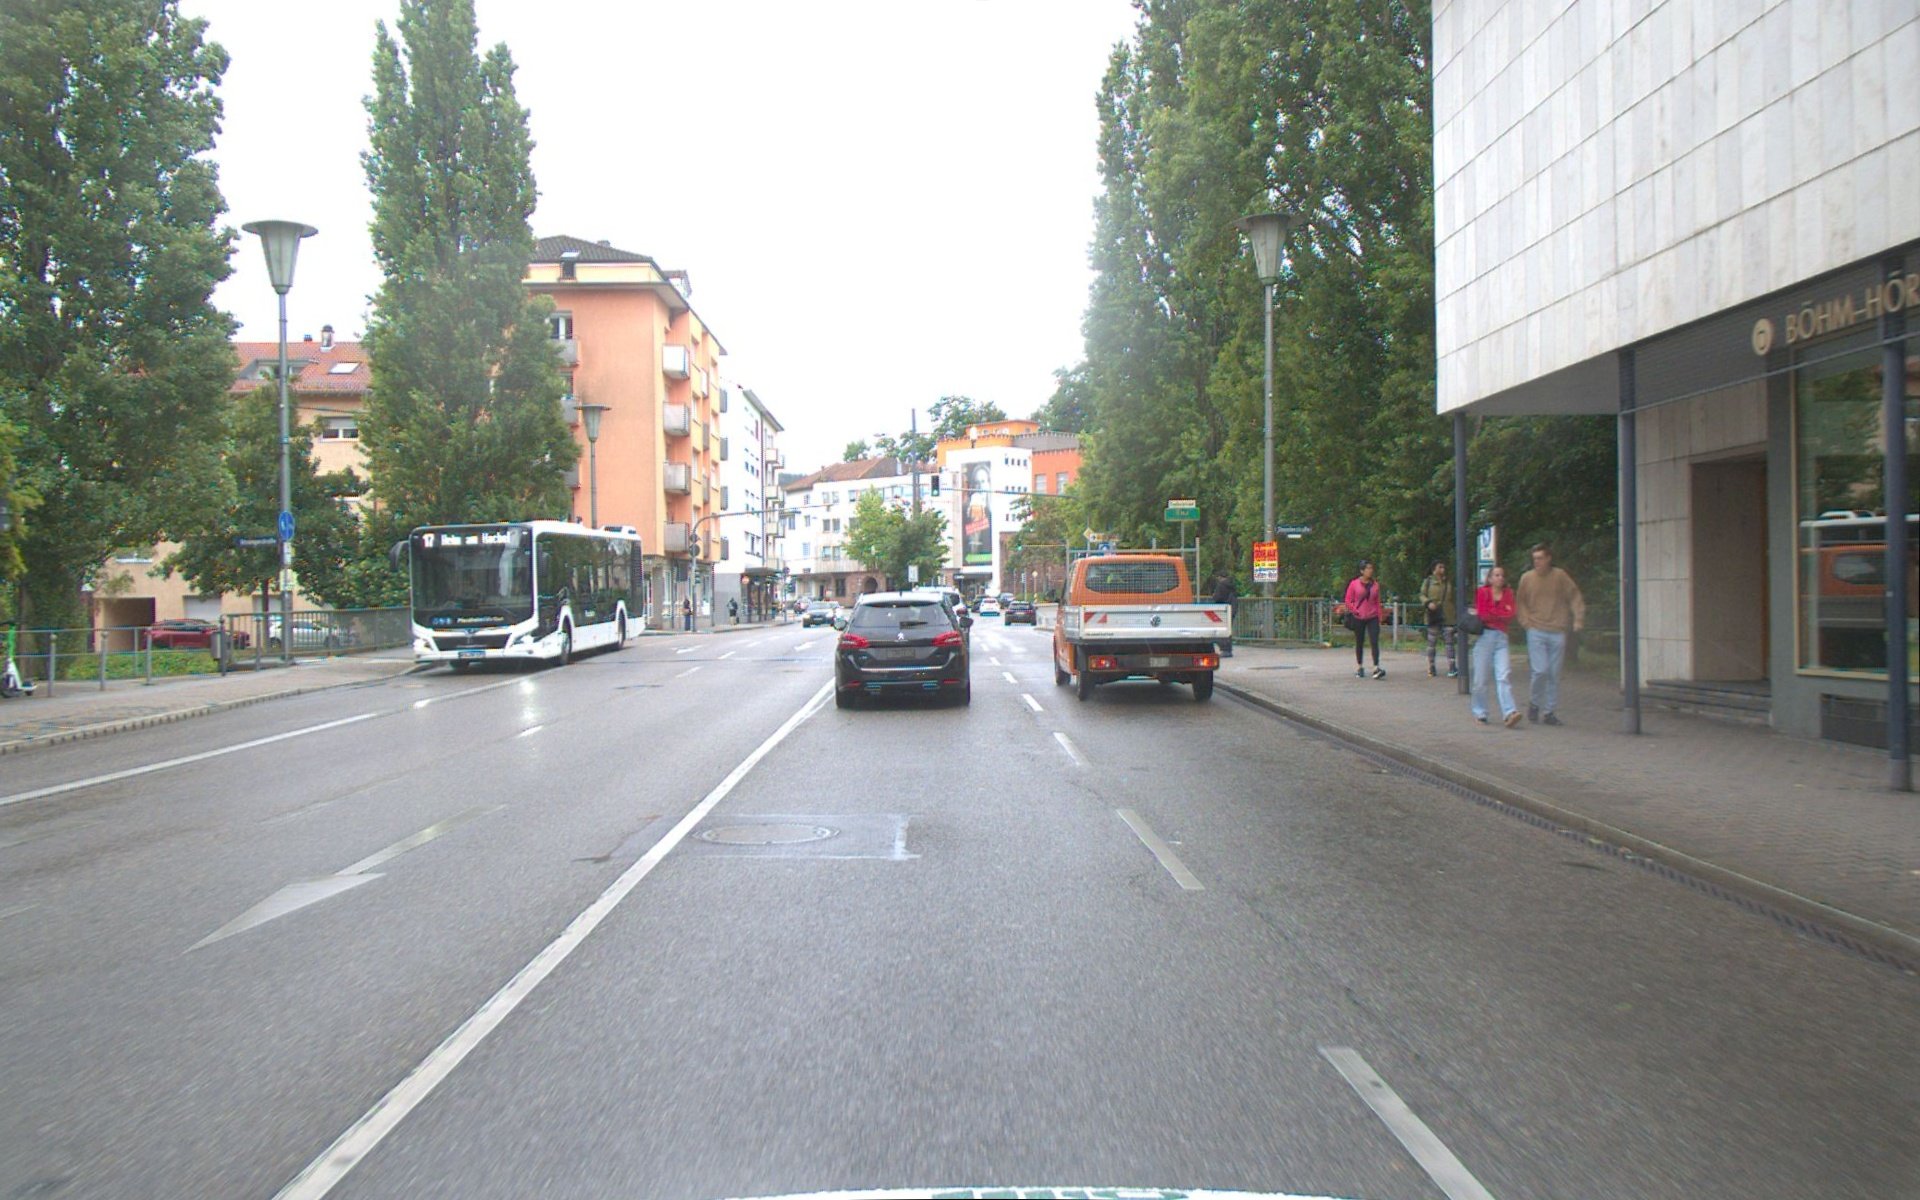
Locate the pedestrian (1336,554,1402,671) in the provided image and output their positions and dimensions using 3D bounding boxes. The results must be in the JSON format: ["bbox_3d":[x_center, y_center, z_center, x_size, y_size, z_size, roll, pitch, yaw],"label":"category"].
[{"bbox_3d":[5.933,0.179,24.030,0.702,1.648,0.769,-2,0,-1],"label":"pedestrian"}]

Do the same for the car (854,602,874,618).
[{"bbox_3d":[-8.764,0.914,151.051,1.632,1.424,3.872,-2,0,-5],"label":"car"}]

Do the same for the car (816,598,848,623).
[{"bbox_3d":[-8.514,0.684,110.156,1.798,1.536,4.820,-1,0,-1],"label":"car"}]

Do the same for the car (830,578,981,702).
[{"bbox_3d":[-0.641,0.517,22.377,1.757,1.509,4.001,1,-1,2],"label":"car"}]

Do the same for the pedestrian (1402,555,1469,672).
[{"bbox_3d":[6.774,0.187,23.571,0.711,1.617,0.606,-2,0,-1],"label":"pedestrian"}]

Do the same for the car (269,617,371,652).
[{"bbox_3d":[-29.611,1.584,76.575,3.905,1.412,1.899,-2,0,0],"label":"car"}]

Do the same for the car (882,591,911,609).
[{"bbox_3d":[-6.409,0.024,166.754,1.624,1.592,3.571,3,-3,-25],"label":"car"}]

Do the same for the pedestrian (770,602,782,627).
[{"bbox_3d":[-15.076,1.209,135.697,0.720,2.049,0.650,4,-3,-34],"label":"pedestrian"}]

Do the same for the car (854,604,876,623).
[{"bbox_3d":[-7.756,1.111,135.239,1.631,1.424,3.875,-2,0,-2],"label":"car"}]

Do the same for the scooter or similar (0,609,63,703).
[{"bbox_3d":[-14.457,0.841,25.502,0.472,1.336,1.571,-1,2,-5],"label":"scooter or similar"}]

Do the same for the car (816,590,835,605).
[{"bbox_3d":[-13.076,-0.235,161.162,1.631,1.424,3.875,-2,0,-2],"label":"car"}]

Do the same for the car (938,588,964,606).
[{"bbox_3d":[-0.867,-0.272,159.019,1.957,1.713,3.992,-1,0,-9],"label":"car"}]

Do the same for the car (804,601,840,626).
[{"bbox_3d":[-7.870,0.770,94.392,1.755,1.348,4.405,-1,0,-1],"label":"car"}]

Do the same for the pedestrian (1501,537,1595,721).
[{"bbox_3d":[6.071,0.293,17.093,0.684,1.833,0.606,-2,0,-1],"label":"pedestrian"}]

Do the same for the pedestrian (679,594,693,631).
[{"bbox_3d":[-13.186,0.591,79.657,0.519,1.757,0.649,-1,0,3],"label":"pedestrian"}]

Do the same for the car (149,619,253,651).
[{"bbox_3d":[-34.975,1.592,76.258,3.905,1.412,1.899,-1,0,0],"label":"car"}]

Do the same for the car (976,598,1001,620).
[{"bbox_3d":[2.390,0.774,140.536,1.953,1.853,3.999,0,0,-1],"label":"car"}]

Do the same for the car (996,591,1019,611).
[{"bbox_3d":[4.541,0.124,158.146,1.953,1.853,3.999,-1,0,-1],"label":"car"}]

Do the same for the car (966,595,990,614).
[{"bbox_3d":[1.656,0.436,150.730,1.614,1.592,3.592,2,-2,-8],"label":"car"}]

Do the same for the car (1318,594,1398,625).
[{"bbox_3d":[22.555,0.538,93.877,4.040,1.649,1.804,-1,0,-5],"label":"car"}]

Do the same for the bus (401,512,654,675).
[{"bbox_3d":[-9.548,-0.287,38.319,2.688,3.129,12.237,-1,1,0],"label":"bus"}]

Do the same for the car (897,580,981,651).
[{"bbox_3d":[-0.430,0.332,37.931,1.758,1.509,4.001,-1,0,1],"label":"car"}]

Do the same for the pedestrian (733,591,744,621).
[{"bbox_3d":[-14.416,0.392,107.731,0.626,1.893,0.523,0,0,-3],"label":"pedestrian"}]

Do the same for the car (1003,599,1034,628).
[{"bbox_3d":[3.494,0.830,99.494,1.611,1.592,3.599,2,-2,-1],"label":"car"}]

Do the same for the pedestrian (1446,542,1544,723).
[{"bbox_3d":[5.536,0.327,17.145,0.640,1.798,0.922,-2,0,-1],"label":"pedestrian"}]

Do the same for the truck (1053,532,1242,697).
[{"bbox_3d":[2.505,0.183,23.269,2.078,2.061,4.715,1,0,0],"label":"truck"}]

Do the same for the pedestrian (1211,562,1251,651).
[{"bbox_3d":[5.253,0.121,32.115,0.627,1.693,0.563,-2,1,-2],"label":"pedestrian"}]
